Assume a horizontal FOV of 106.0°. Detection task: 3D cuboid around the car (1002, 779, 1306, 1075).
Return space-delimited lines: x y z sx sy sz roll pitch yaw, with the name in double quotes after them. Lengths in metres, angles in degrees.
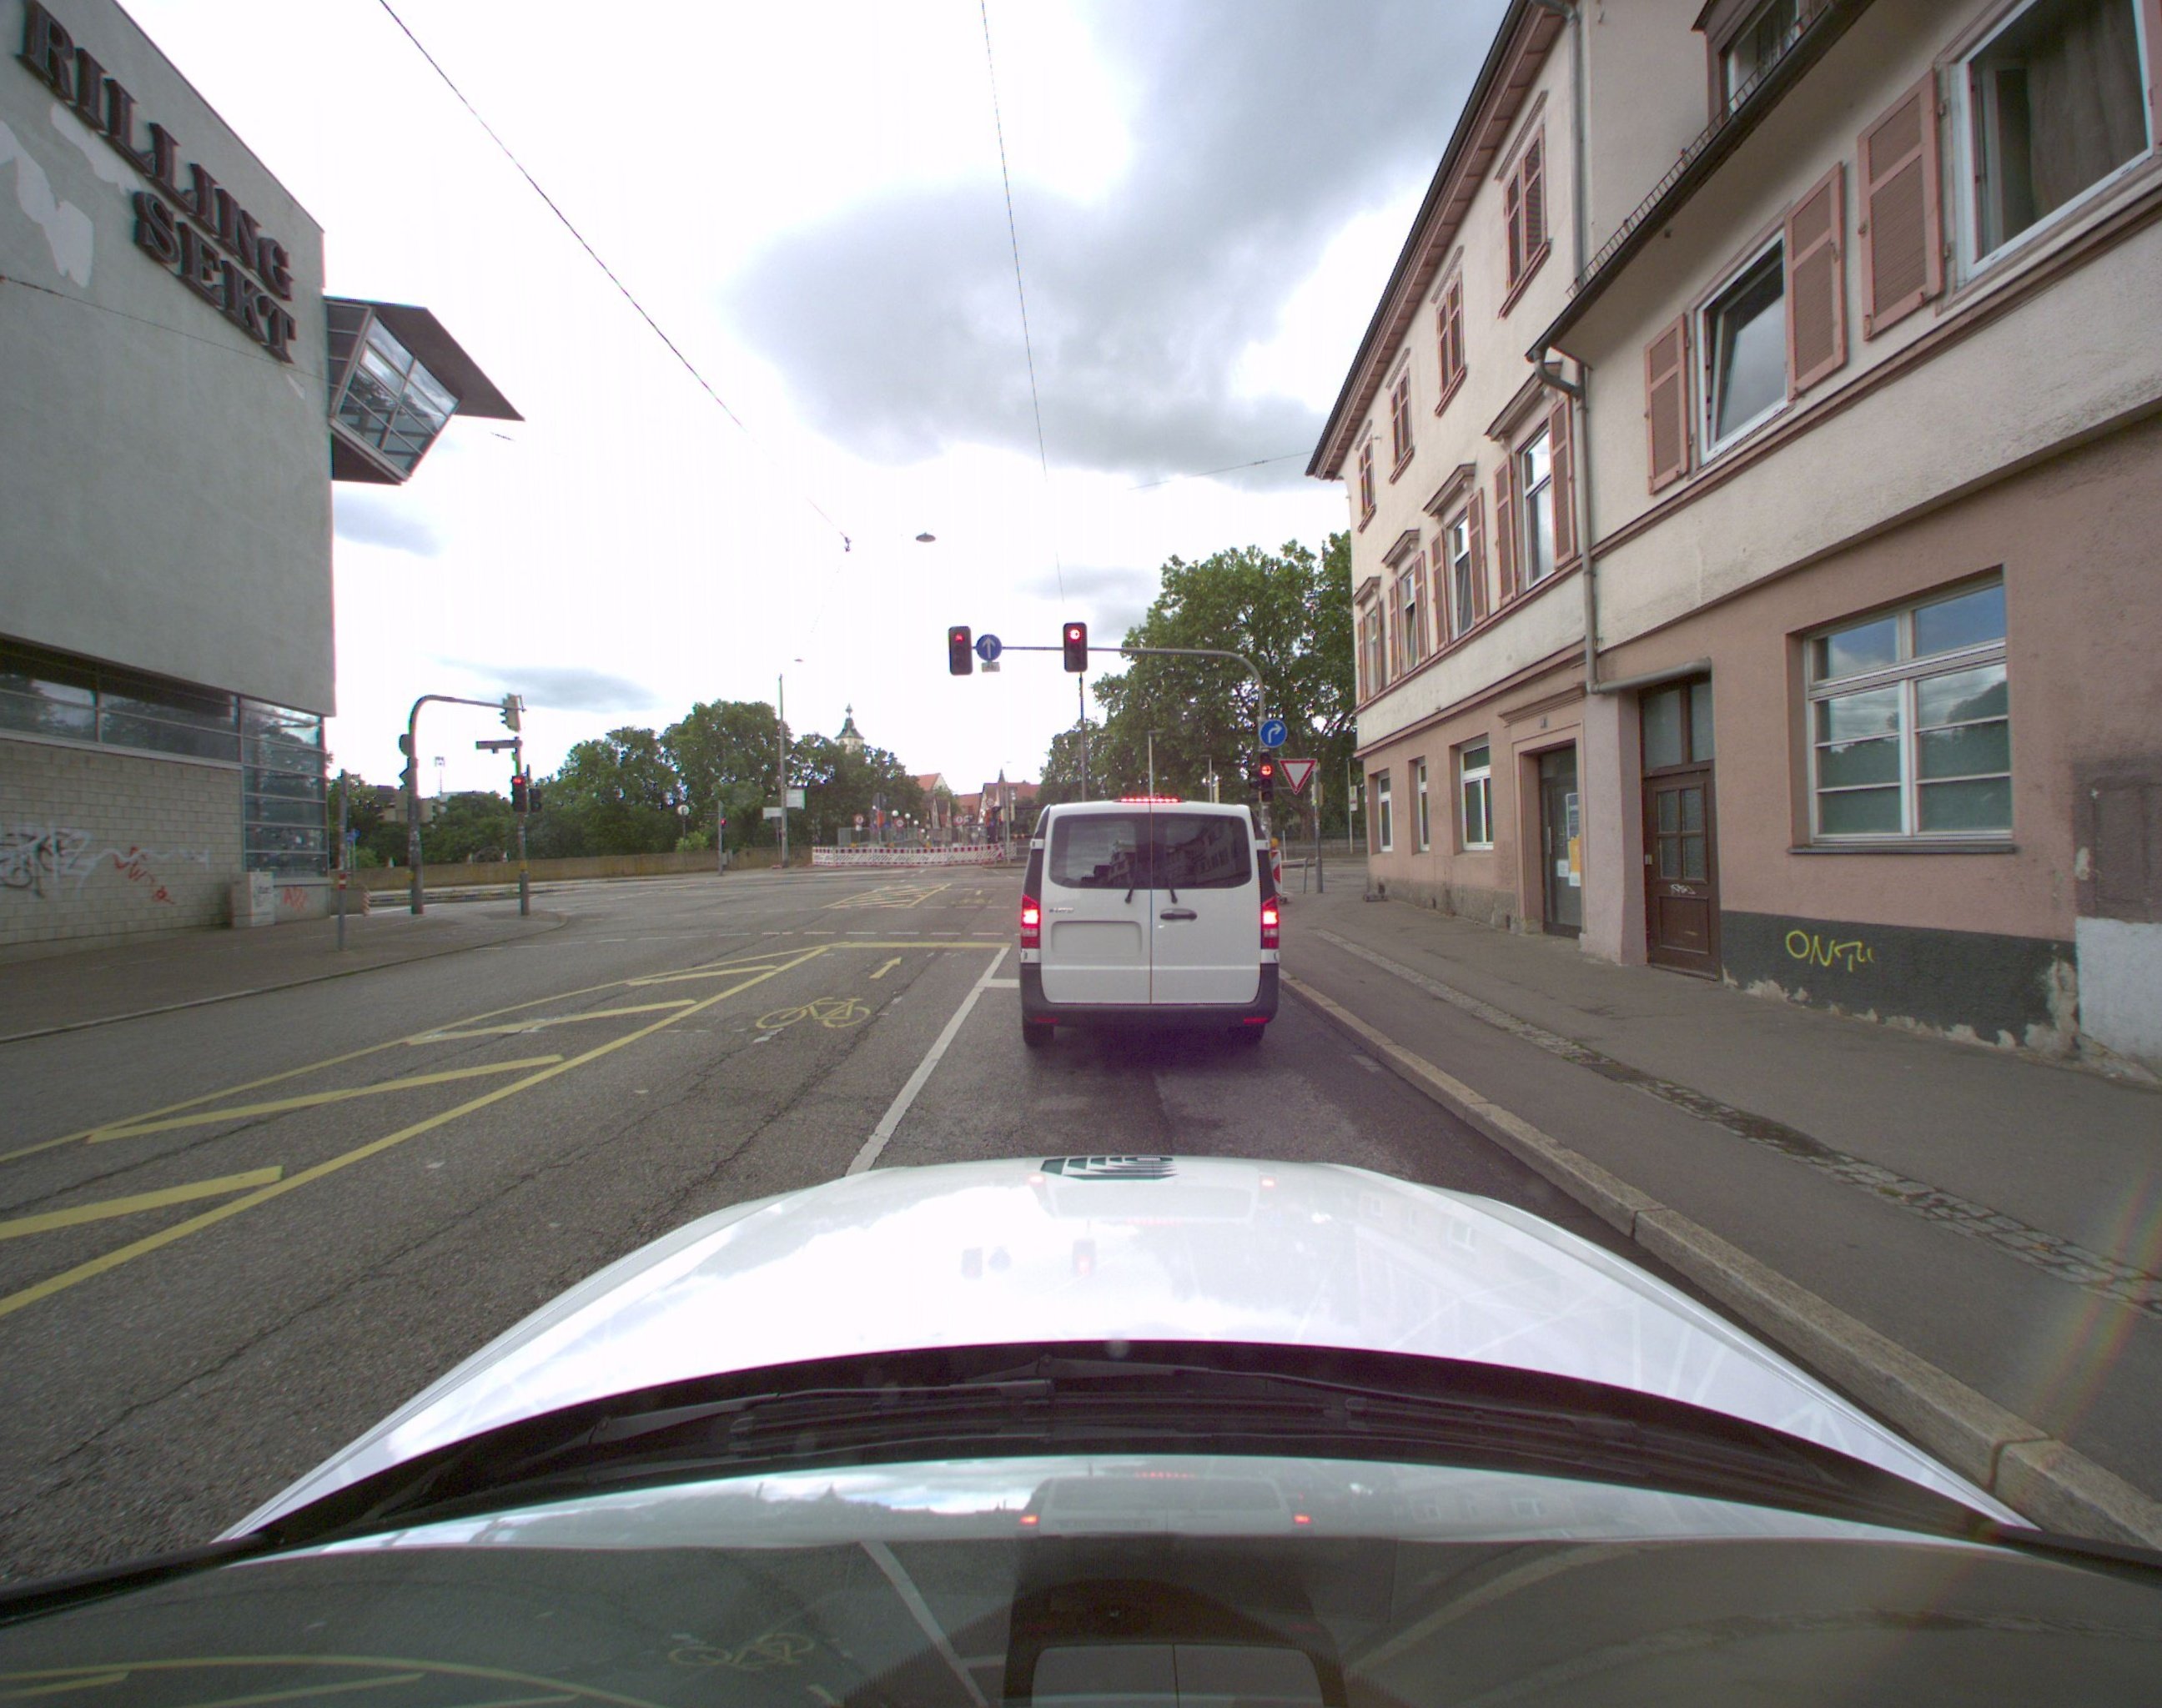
0.457 0.413 7.474 1.988 1.922 4.247 -1 2 -1 "car"
